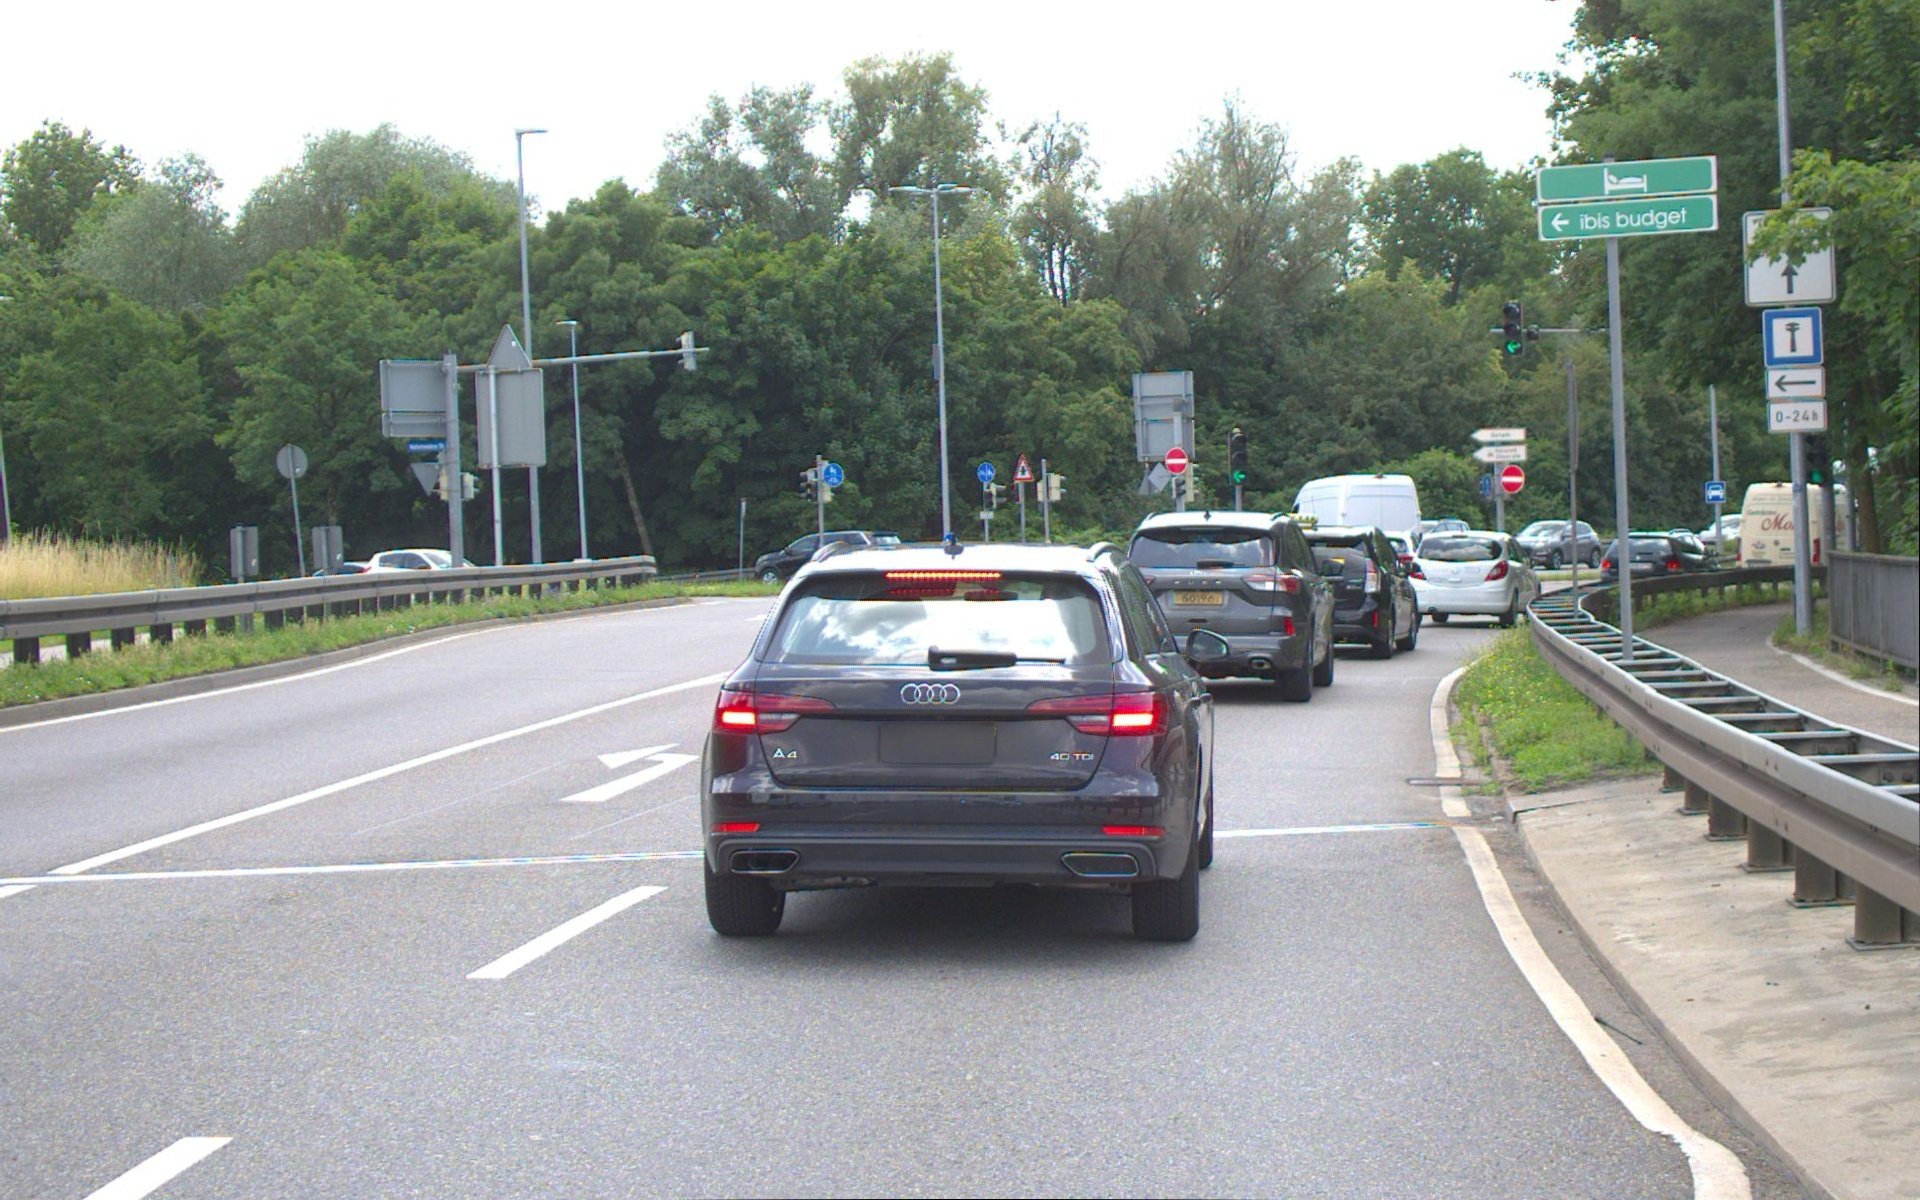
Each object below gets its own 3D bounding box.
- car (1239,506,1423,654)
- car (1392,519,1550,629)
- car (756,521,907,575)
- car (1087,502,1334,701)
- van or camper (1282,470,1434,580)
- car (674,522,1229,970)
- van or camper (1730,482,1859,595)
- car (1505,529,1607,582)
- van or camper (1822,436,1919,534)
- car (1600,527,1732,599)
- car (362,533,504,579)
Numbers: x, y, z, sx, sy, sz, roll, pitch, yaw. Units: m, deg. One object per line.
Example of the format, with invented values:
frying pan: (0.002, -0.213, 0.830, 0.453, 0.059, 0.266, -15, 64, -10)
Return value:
car: (4.494, -0.280, 41.221, 1.734, 1.646, 3.854, 2, 2, 12)
car: (7.993, -0.436, 53.540, 1.735, 1.646, 3.852, 0, 1, 19)
car: (-3.522, -1.426, 94.193, 3.803, 1.367, 1.670, 1, 3, 22)
car: (2.311, -0.035, 30.857, 1.822, 1.646, 3.854, 1, 1, 10)
van or camper: (8.830, -1.681, 76.748, 2.272, 2.332, 5.242, 1, 1, -5)
car: (0.130, 0.456, 13.560, 1.828, 1.486, 4.206, 0, 1, 5)
van or camper: (19.742, -1.488, 81.242, 1.997, 2.581, 4.084, 2, 2, 28)
car: (18.930, -1.423, 109.044, 1.997, 1.617, 3.994, 2, 1, 28)
van or camper: (35.678, -4.480, 133.485, 2.908, 3.602, 8.121, 2, 3, 23)
car: (14.037, -0.753, 68.243, 1.685, 1.393, 3.674, 0, 1, 26)
car: (-13.422, -1.130, 87.477, 3.586, 1.113, 1.590, 2, 1, 40)
